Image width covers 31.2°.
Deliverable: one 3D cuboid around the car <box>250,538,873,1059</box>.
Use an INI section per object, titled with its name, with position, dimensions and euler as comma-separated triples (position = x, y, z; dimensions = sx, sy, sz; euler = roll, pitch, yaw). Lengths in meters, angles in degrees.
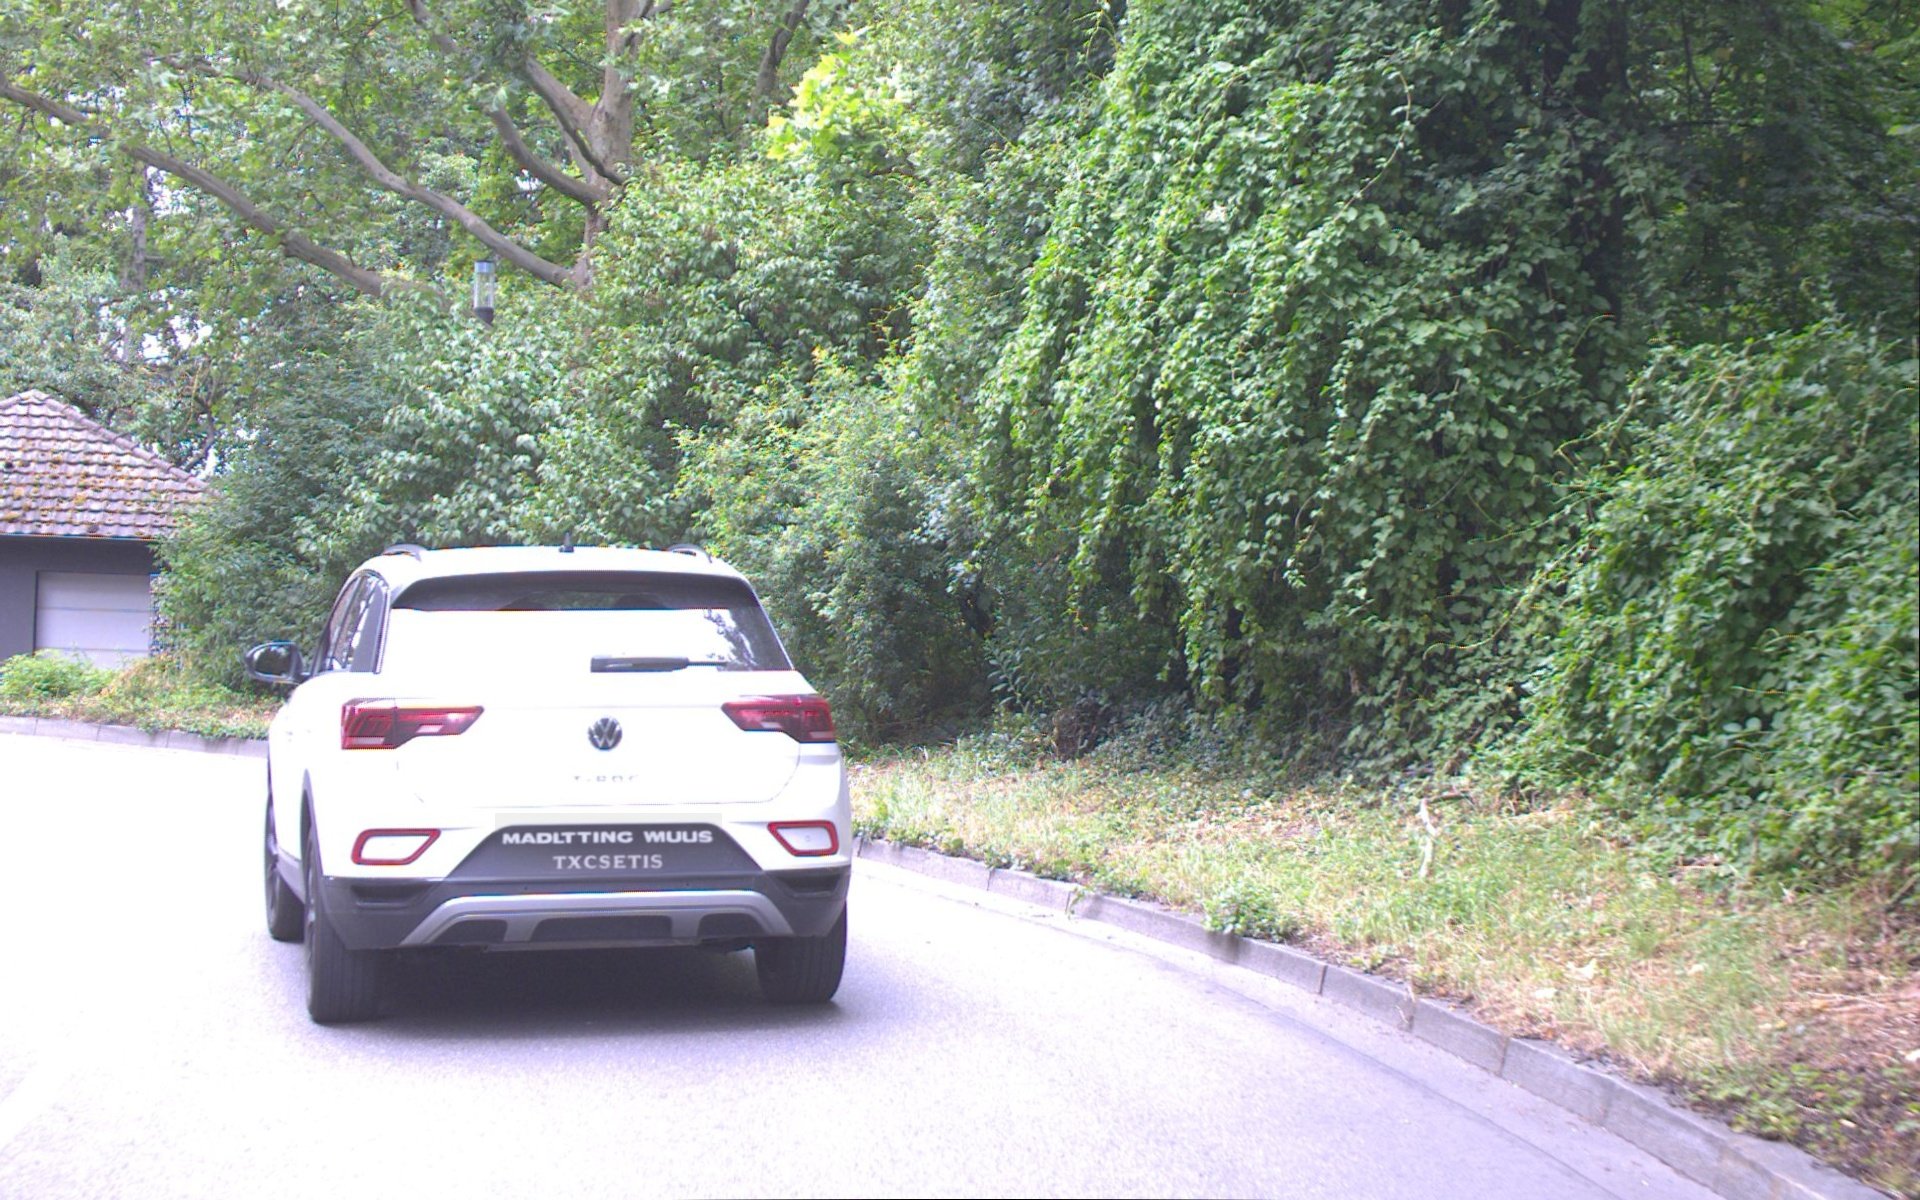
[car]
position = -1.648, 0.579, 12.733
dimensions = 1.754, 1.547, 4.339
euler = -1, 1, -13
